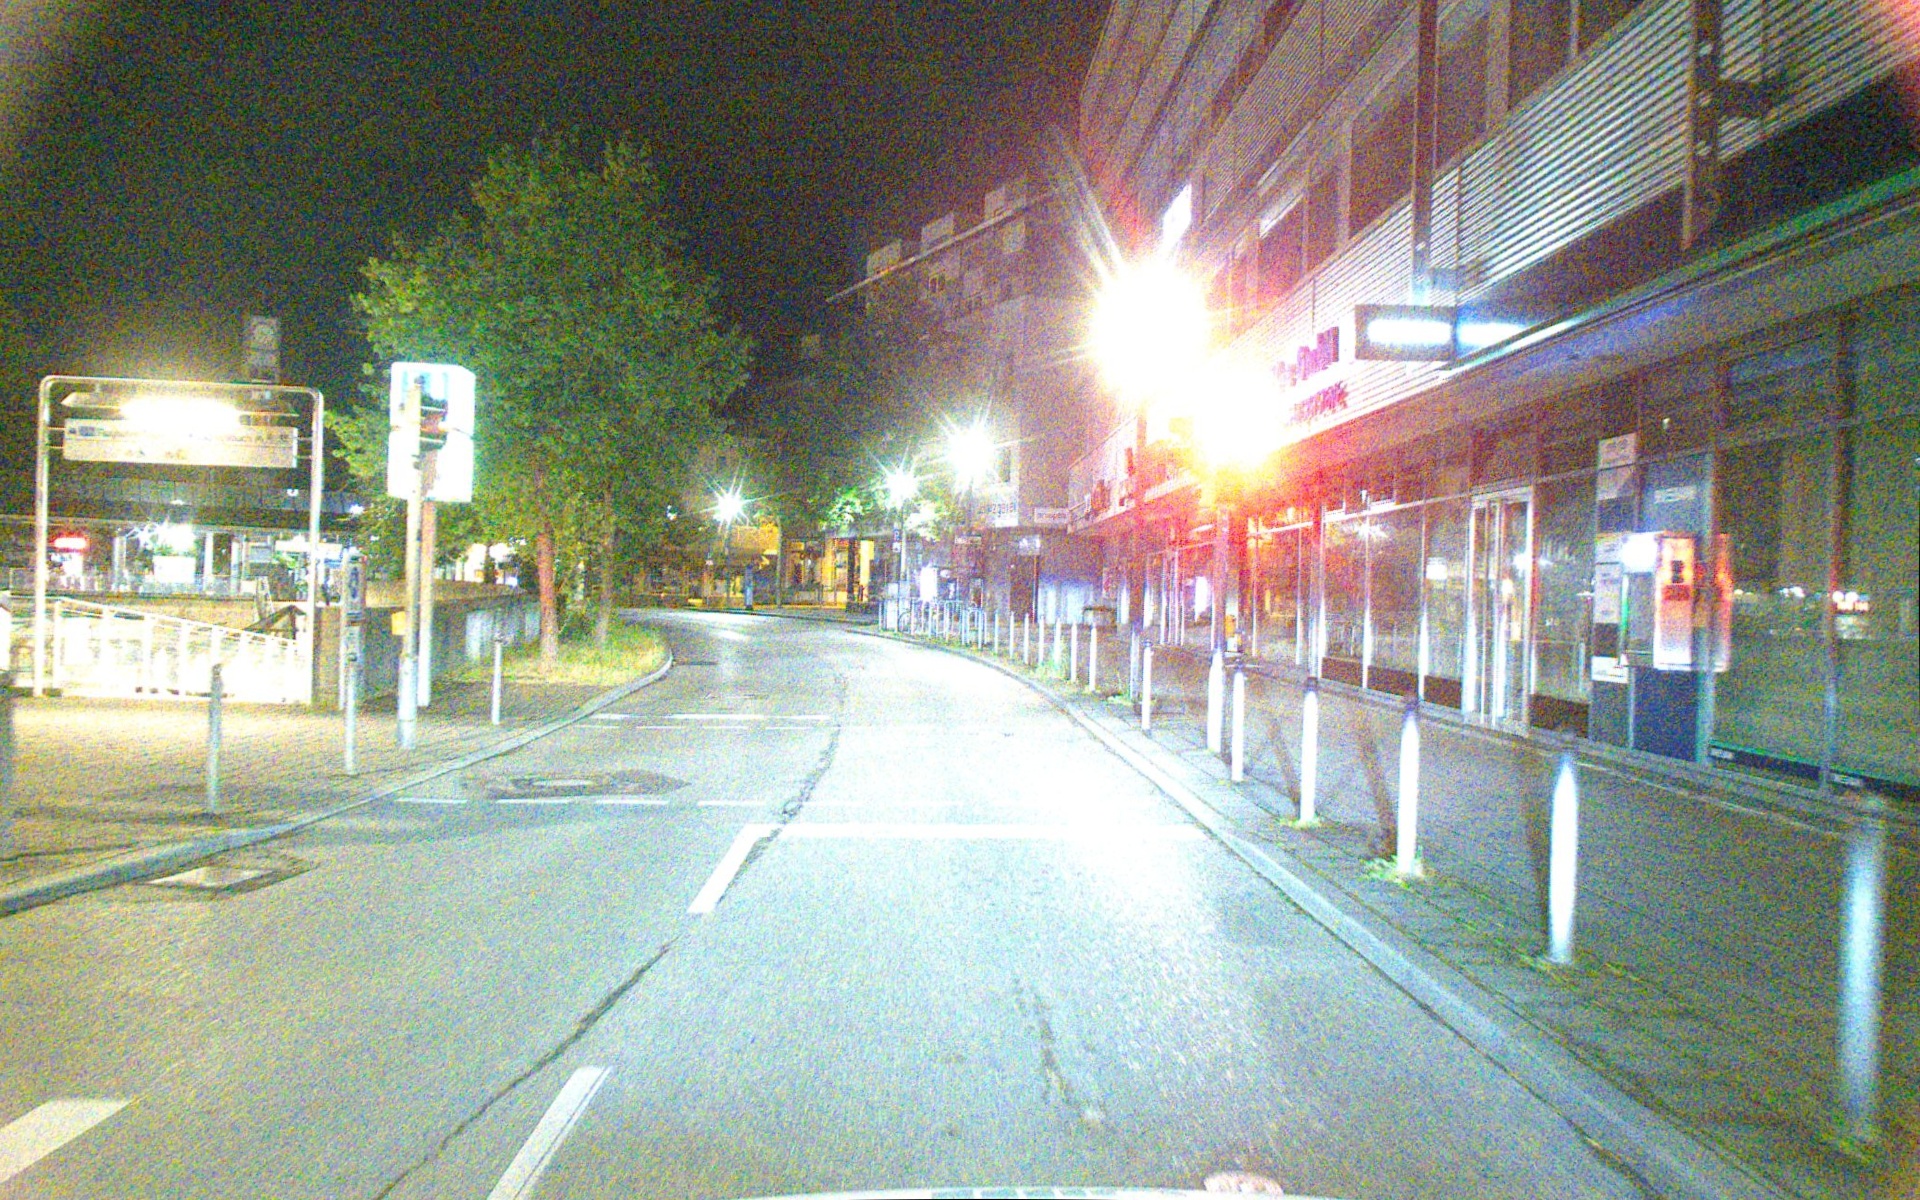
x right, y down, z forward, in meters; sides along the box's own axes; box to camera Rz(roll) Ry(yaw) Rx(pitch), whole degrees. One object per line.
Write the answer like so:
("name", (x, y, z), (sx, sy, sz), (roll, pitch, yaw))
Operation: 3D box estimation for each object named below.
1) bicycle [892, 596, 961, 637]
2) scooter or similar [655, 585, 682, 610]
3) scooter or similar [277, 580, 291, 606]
("bicycle", (-0.897, 0.447, 44.694), (1.727, 1.081, 0.650), (1, 1, -26))
("scooter or similar", (-15.319, -0.129, 86.984), (1.232, 1.248, 0.593), (3, 0, -29))
("scooter or similar", (-35.562, -0.369, 87.013), (0.426, 1.307, 1.133), (0, 1, -35))
